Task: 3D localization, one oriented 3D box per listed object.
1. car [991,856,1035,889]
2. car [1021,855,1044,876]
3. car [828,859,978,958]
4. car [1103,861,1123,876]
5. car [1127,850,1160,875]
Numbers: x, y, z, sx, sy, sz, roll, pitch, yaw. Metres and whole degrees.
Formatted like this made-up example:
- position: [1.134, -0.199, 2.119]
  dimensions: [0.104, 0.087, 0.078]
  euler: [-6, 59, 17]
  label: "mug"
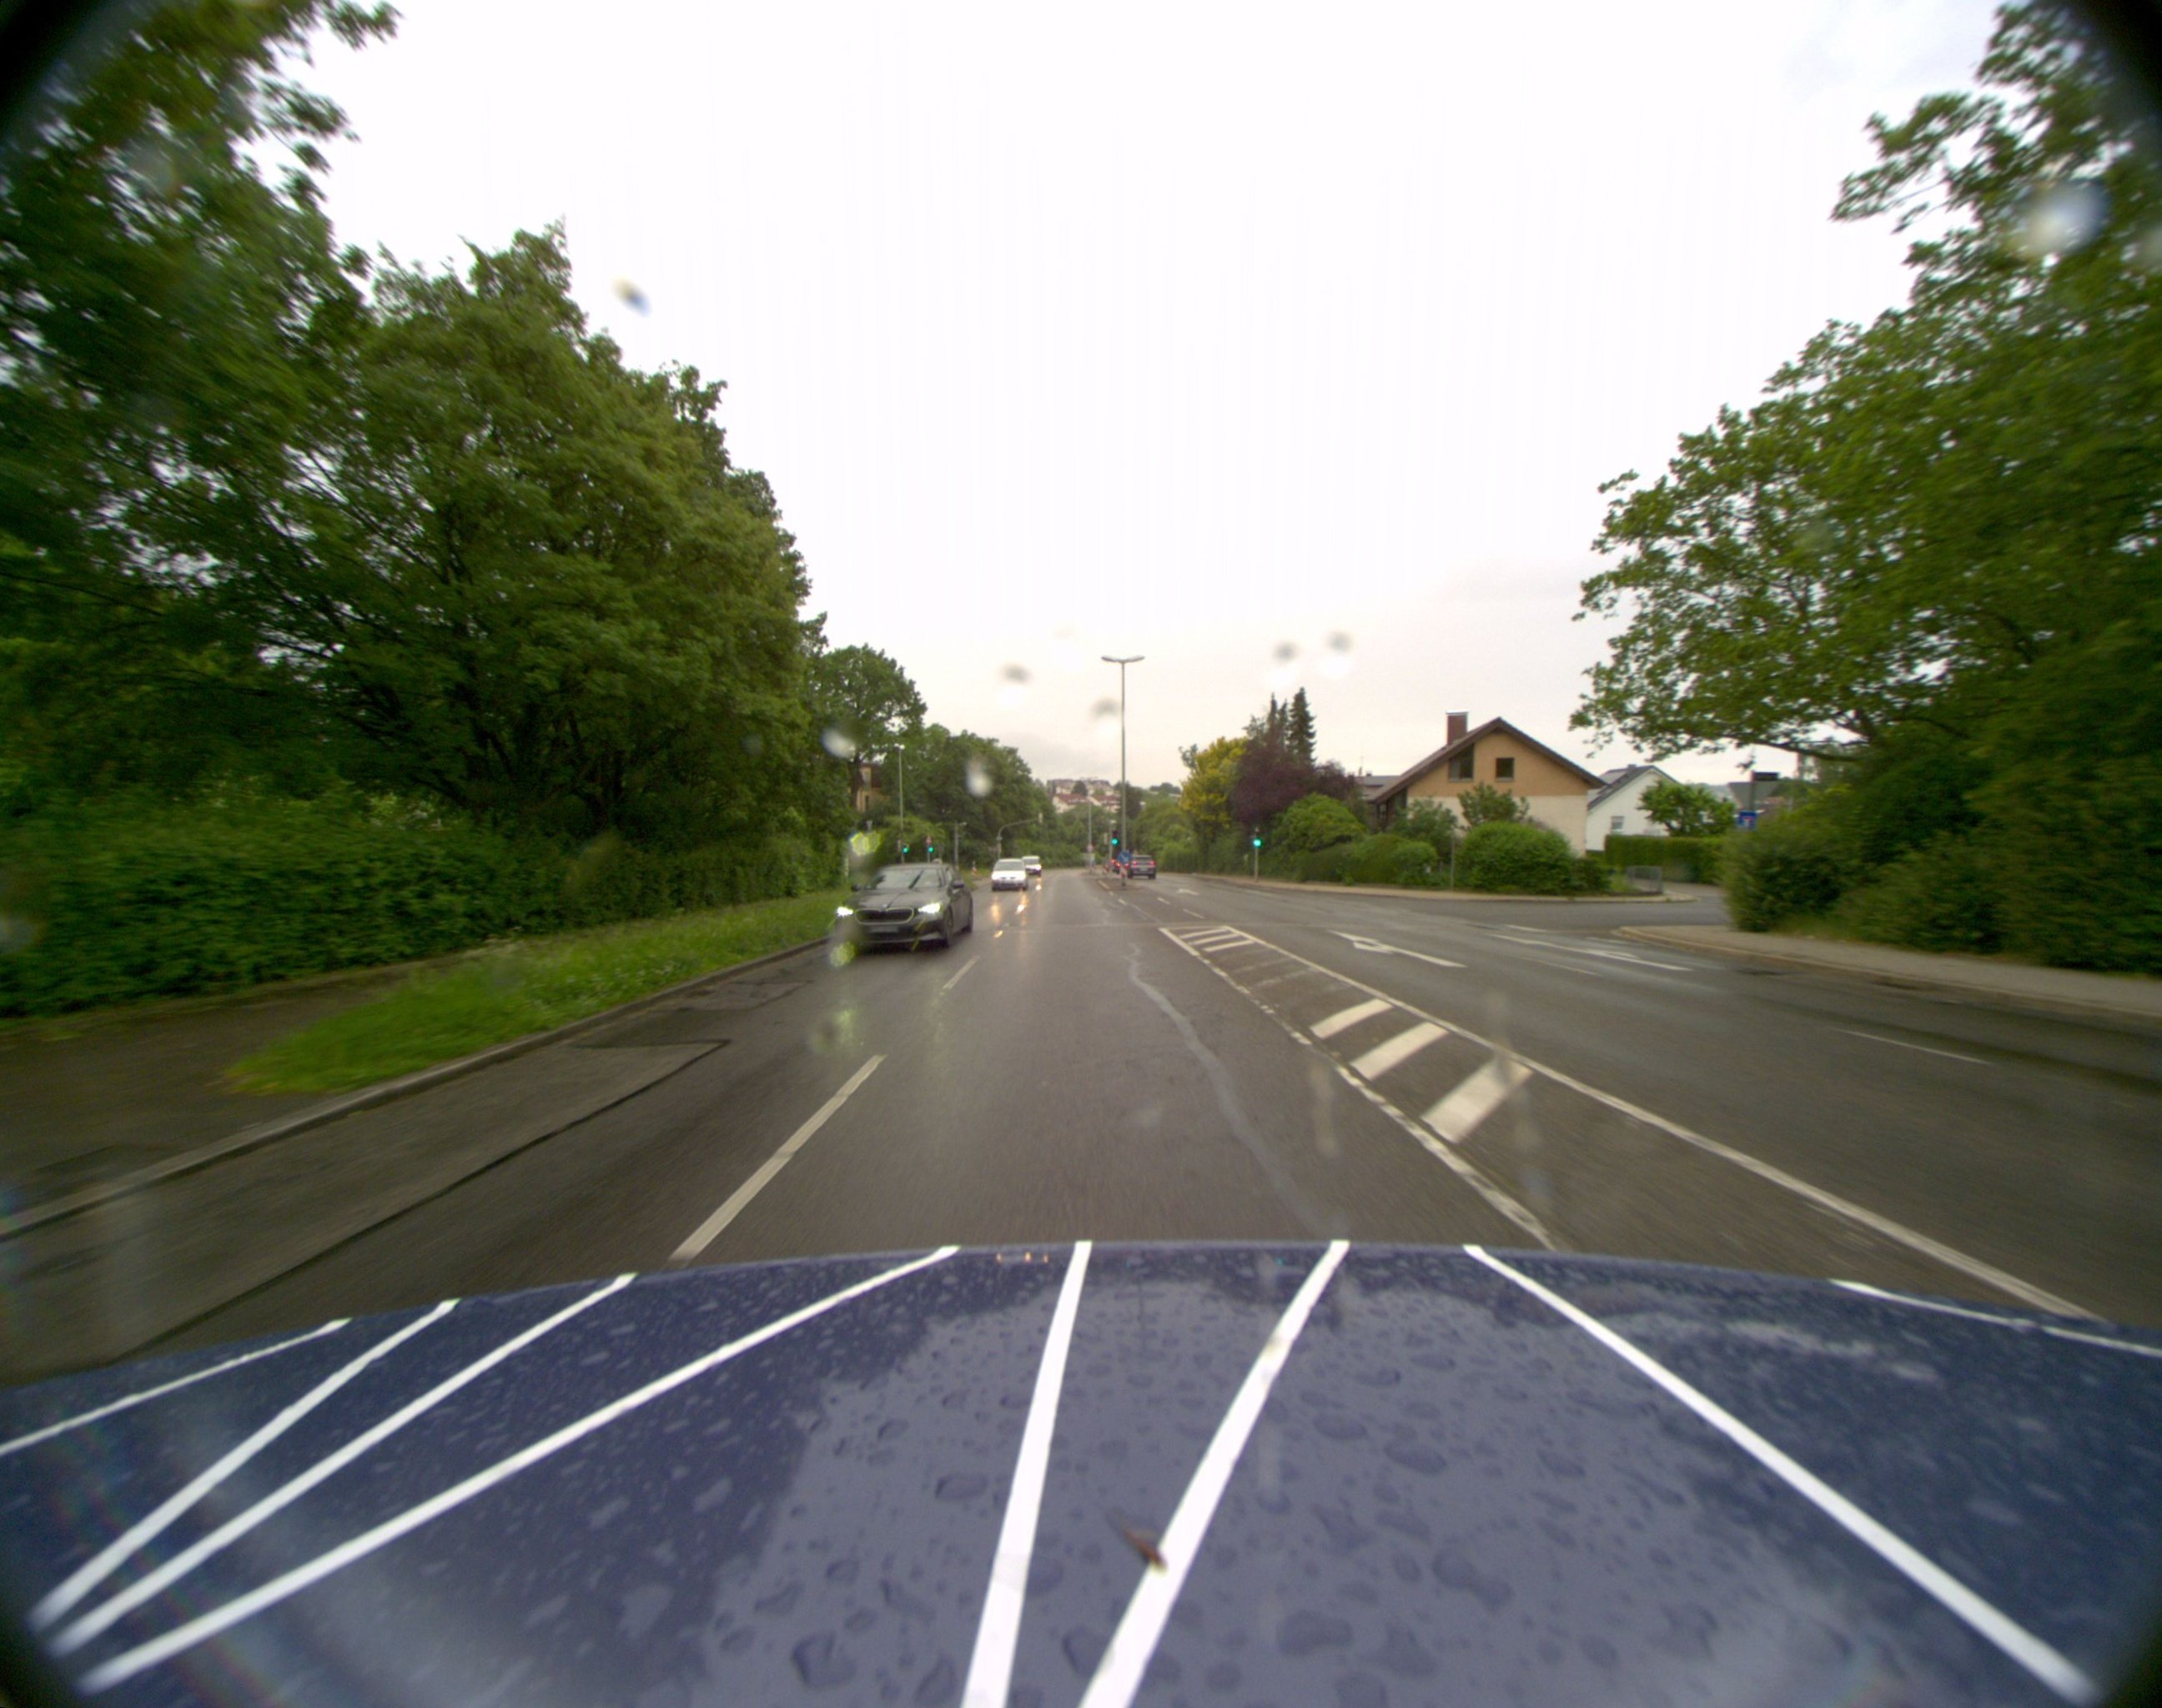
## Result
- position: [-3.361, 0.868, 38.059]
  dimensions: [1.814, 1.546, 4.119]
  euler: [0, 0, 0]
  label: "car"
- position: [-4.191, 0.976, 65.899]
  dimensions: [1.814, 1.797, 4.119]
  euler: [0, 0, -1]
  label: "car"
- position: [-3.174, 0.899, 14.400]
  dimensions: [1.867, 1.547, 4.119]
  euler: [0, 1, 0]
  label: "car"
- position: [3.555, 1.557, 84.779]
  dimensions: [2.031, 1.554, 3.876]
  euler: [0, 0, -1]
  label: "car"
- position: [4.231, 0.556, 51.732]
  dimensions: [1.800, 1.593, 3.731]
  euler: [0, 0, -2]
  label: "car"
